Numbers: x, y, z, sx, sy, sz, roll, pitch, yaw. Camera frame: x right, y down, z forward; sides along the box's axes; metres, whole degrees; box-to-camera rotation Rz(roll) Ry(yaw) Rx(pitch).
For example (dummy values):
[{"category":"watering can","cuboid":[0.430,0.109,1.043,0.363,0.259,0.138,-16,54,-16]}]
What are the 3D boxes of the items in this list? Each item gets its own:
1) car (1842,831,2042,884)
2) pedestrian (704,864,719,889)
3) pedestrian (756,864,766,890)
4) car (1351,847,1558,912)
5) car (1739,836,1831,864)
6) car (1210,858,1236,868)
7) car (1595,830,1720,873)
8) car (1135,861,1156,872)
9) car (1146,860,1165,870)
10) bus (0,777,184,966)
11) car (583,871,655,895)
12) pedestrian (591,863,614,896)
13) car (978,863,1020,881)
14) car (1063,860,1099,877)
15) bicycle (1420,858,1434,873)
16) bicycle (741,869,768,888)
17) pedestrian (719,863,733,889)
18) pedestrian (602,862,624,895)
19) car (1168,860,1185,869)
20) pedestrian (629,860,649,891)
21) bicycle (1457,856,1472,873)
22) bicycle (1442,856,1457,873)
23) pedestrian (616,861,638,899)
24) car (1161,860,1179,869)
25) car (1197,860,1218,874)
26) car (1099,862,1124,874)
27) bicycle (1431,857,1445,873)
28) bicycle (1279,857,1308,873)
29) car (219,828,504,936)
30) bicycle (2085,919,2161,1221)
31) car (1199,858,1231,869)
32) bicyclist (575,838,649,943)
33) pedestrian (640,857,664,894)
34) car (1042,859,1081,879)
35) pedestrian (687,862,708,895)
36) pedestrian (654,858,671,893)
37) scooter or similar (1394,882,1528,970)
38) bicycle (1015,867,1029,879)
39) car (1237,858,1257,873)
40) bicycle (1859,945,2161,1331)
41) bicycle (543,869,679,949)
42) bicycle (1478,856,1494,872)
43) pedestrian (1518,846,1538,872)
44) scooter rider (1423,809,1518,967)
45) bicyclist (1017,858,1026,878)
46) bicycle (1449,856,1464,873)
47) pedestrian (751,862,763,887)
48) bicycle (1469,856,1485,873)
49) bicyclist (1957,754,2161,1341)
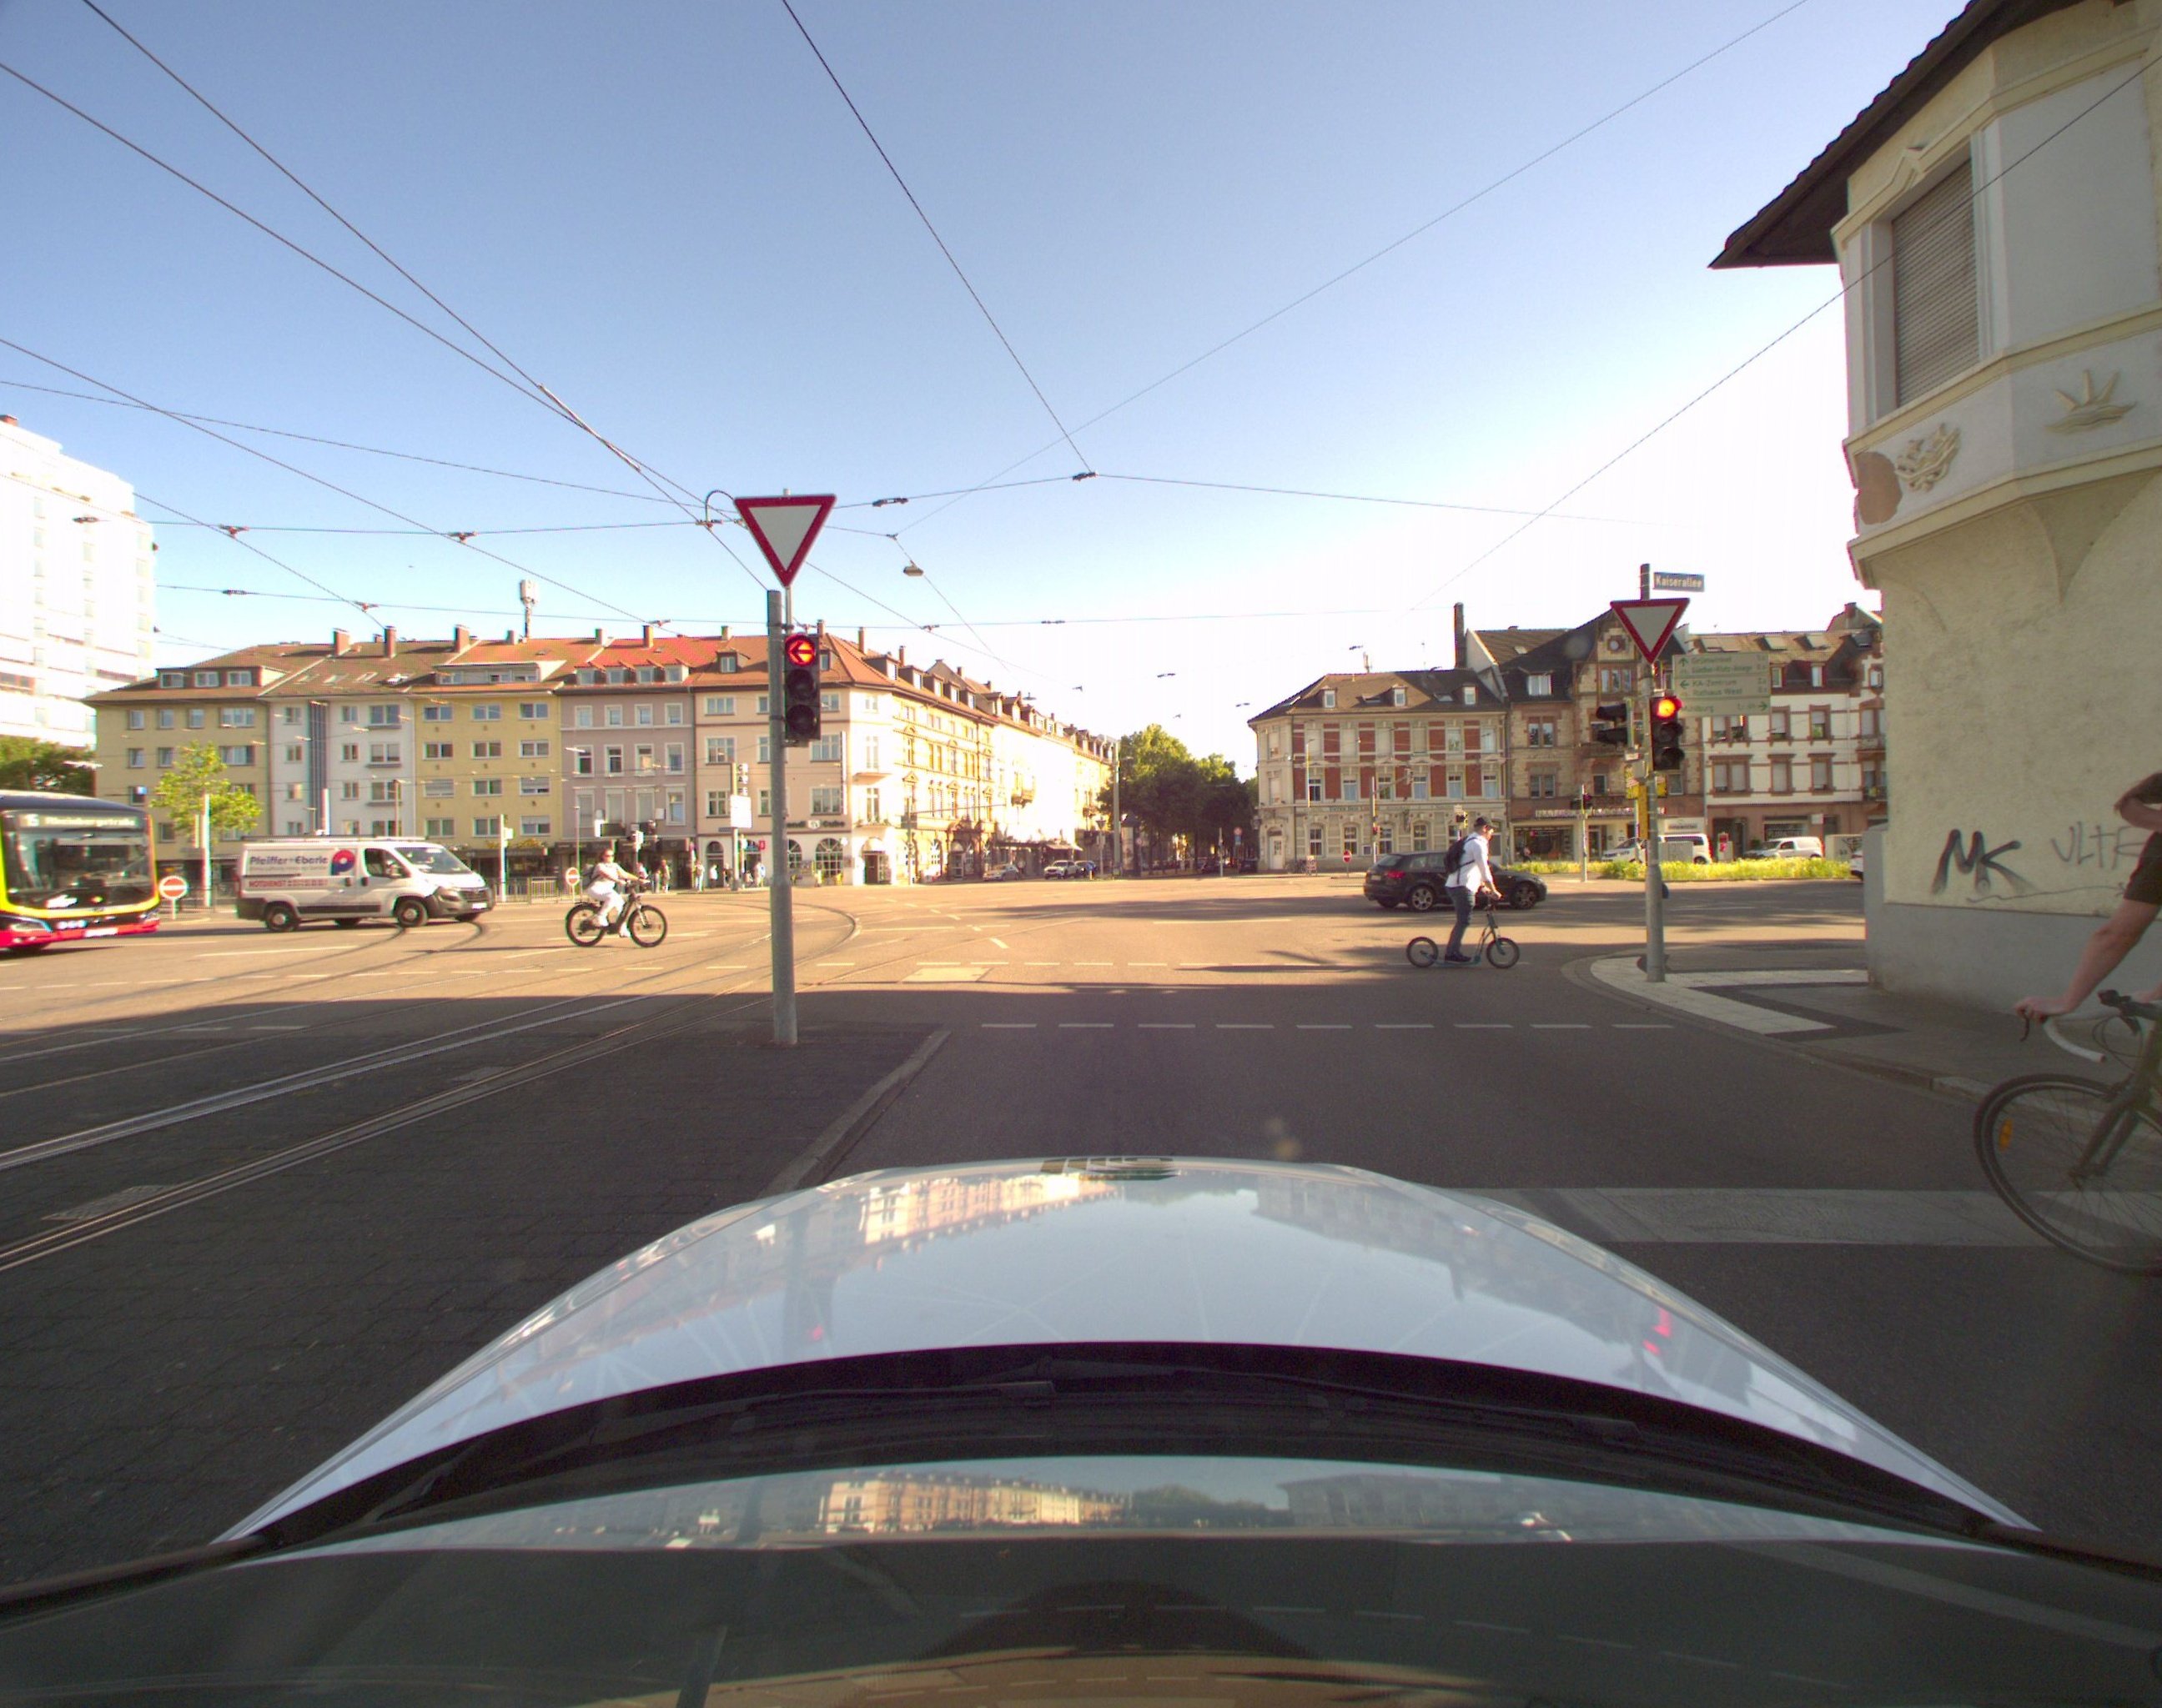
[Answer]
[{"category":"car","cuboid":[26.402,0.086,25.039,4.664,1.473,1.738,-1,0,-6]},{"category":"pedestrian","cuboid":[-25.684,1.573,56.580,0.740,1.682,0.626,-1,0,-10]},{"category":"pedestrian","cuboid":[-15.799,1.135,40.215,0.364,1.253,0.449,-1,0,-10]},{"category":"car","cuboid":[8.853,0.566,19.471,4.264,1.381,1.642,-1,0,-6]},{"category":"car","cuboid":[45.297,-0.254,52.486,4.239,1.622,1.999,-1,0,-1]},{"category":"car","cuboid":[19.382,1.204,111.192,3.409,1.239,1.582,-1,0,13]},{"category":"car","cuboid":[29.537,-0.109,41.831,4.962,2.013,2.001,-1,0,1]},{"category":"car","cuboid":[9.247,1.805,116.825,1.977,1.404,4.189,-1,0,18]},{"category":"car","cuboid":[11.201,1.679,122.503,1.977,1.404,4.189,-1,0,18]},{"category":"bus","cuboid":[-24.208,0.322,16.222,9.383,3.457,2.779,0,1,-1]},{"category":"car","cuboid":[-30.341,1.902,53.534,3.711,1.491,1.820,0,-1,4]},{"category":"pedestrian","cuboid":[-24.900,1.309,42.378,0.764,1.682,0.628,-1,0,1]},{"category":"car","cuboid":[-6.755,1.474,67.363,1.977,1.361,3.836,-1,0,18]},{"category":"car","cuboid":[0.035,1.307,73.807,1.977,1.404,4.189,-1,0,18]},{"category":"bicycle","cuboid":[22.487,0.725,52.980,0.483,0.914,1.789,-1,0,12]},{"category":"bicycle","cuboid":[-23.032,1.754,57.433,1.714,1.276,0.385,-1,0,-16]},{"category":"pedestrian","cuboid":[-23.070,1.410,52.931,0.744,1.682,0.623,-1,0,-23]},{"category":"pedestrian","cuboid":[-23.540,1.222,40.953,0.738,1.635,0.572,-1,0,1]},{"category":"car","cuboid":[16.030,1.727,136.421,1.977,1.404,4.189,-1,0,18]},{"category":"pedestrian","cuboid":[-22.911,1.092,42.206,0.697,1.581,0.559,-1,0,-4]},{"category":"bicycle","cuboid":[24.822,0.670,52.717,0.483,1.020,1.789,-1,0,12]},{"category":"bicycle","cuboid":[23.859,0.677,52.758,0.483,1.020,1.789,-1,0,12]},{"category":"pedestrian","cuboid":[-22.714,1.277,40.726,0.625,1.850,0.778,-1,0,1]},{"category":"car","cuboid":[14.330,1.698,131.261,1.977,1.404,4.189,-1,0,18]},{"category":"car","cuboid":[12.905,1.277,82.783,1.705,1.300,4.089,-1,0,14]},{"category":"car","cuboid":[3.834,1.705,102.176,1.977,1.404,4.189,-1,0,18]},{"category":"bicycle","cuboid":[23.164,0.715,52.877,0.483,1.020,1.789,-1,0,12]},{"category":"bicycle","cuboid":[14.917,0.745,57.142,1.940,1.054,0.717,-1,0,11]},{"category":"car","cuboid":[-18.031,0.646,20.650,5.100,2.432,2.079,-2,1,-4]},{"category":"bicycle","cuboid":[4.511,0.859,2.489,0.568,1.165,1.890,-1,0,2]},{"category":"car","cuboid":[17.338,1.216,105.163,3.959,1.288,1.700,-1,0,13]},{"category":"bicyclist","cuboid":[-7.959,0.606,13.856,0.796,1.715,0.734,-1,0,0]},{"category":"pedestrian","cuboid":[-21.593,1.066,40.998,0.764,1.829,0.723,-1,0,1]},{"category":"car","cuboid":[-1.585,1.214,67.670,1.977,1.516,4.189,-1,0,18]},{"category":"pedestrian","cuboid":[-19.905,1.271,42.287,0.738,1.682,0.628,-1,0,1]},{"category":"pedestrian","cuboid":[-21.608,1.081,42.030,0.559,1.786,0.559,-1,0,-4]},{"category":"scooter or similar","cuboid":[4.799,0.898,10.335,1.426,1.043,0.565,-1,0,1]},{"category":"bicycle","cuboid":[-4.758,1.528,65.569,0.650,1.000,1.671,-1,-1,14]},{"category":"car","cuboid":[16.803,1.124,82.295,1.742,1.420,4.016,-1,0,14]},{"category":"bicycle","cuboid":[3.568,0.920,2.504,0.568,1.058,1.890,-1,0,2]},{"category":"bicycle","cuboid":[-7.947,0.919,13.812,1.934,1.299,0.623,-1,0,0]},{"category":"bicycle","cuboid":[26.338,0.660,52.921,0.483,1.020,1.789,-1,0,12]},{"category":"pedestrian","cuboid":[30.682,0.350,55.901,1.029,1.712,0.631,-1,-1,10]},{"category":"scooter rider","cuboid":[4.920,0.414,10.330,0.792,1.912,0.797,-1,0,1]},{"category":"bicyclist","cuboid":[-4.764,1.091,65.471,0.486,1.601,0.668,-1,0,12]},{"category":"bicycle","cuboid":[24.319,0.674,52.808,0.483,1.020,1.789,-1,0,12]},{"category":"pedestrian","cuboid":[-22.190,1.425,55.760,0.744,1.682,0.623,-1,0,-23]},{"category":"bicycle","cuboid":[25.633,0.664,52.765,0.483,1.020,1.789,-1,0,12]},{"category":"bicyclist","cuboid":[3.566,0.577,2.501,0.649,1.767,0.995,-1,0,2]}]
